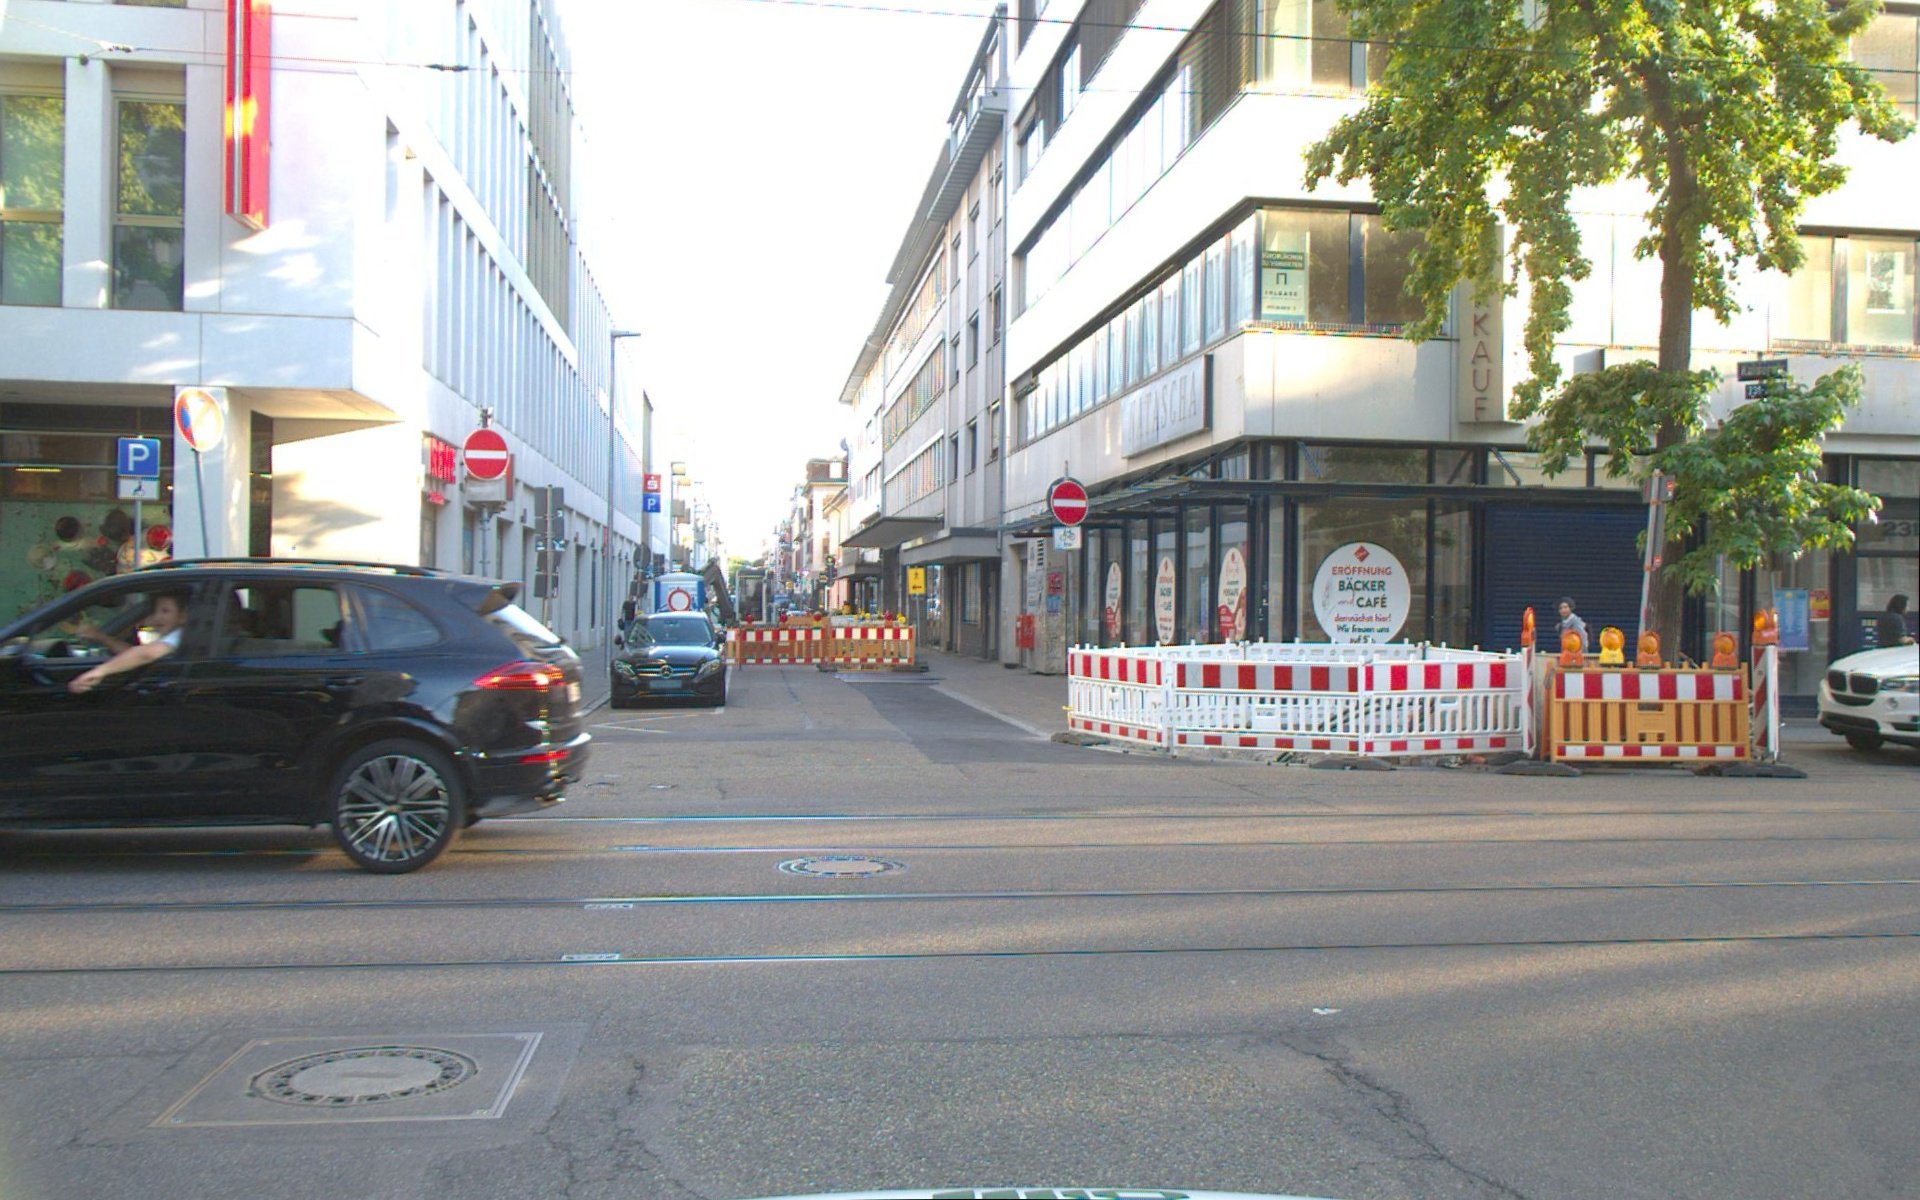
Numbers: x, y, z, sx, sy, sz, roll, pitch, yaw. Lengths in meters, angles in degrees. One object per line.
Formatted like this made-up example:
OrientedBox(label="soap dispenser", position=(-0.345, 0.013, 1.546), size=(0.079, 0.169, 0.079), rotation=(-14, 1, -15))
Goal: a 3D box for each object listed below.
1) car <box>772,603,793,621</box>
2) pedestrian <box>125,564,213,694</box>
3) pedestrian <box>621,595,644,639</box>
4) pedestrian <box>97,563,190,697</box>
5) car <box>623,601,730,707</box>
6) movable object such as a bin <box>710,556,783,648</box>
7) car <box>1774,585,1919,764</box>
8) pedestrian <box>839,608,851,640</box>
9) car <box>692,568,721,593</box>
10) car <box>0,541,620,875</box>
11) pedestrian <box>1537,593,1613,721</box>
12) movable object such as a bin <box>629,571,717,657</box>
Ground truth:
OrientedBox(label="car", position=(-17.731, 1.179, 164.875), size=(1.956, 1.808, 3.993), rotation=(0, 0, -7))
OrientedBox(label="pedestrian", position=(-10.300, 0.372, 21.555), size=(0.853, 1.656, 0.611), rotation=(-1, 0, -4))
OrientedBox(label="pedestrian", position=(-10.982, 0.563, 55.531), size=(0.702, 1.490, 0.525), rotation=(0, 0, -5))
OrientedBox(label="pedestrian", position=(-10.286, 0.372, 20.856), size=(0.853, 1.656, 0.611), rotation=(-1, 0, -4))
OrientedBox(label="car", position=(-4.580, 0.807, 26.607), size=(1.600, 1.577, 3.134), rotation=(0, 0, -11))
OrientedBox(label="movable object such as a bin", position=(-6.654, 0.062, 51.558), size=(2.116, 2.710, 4.565), rotation=(1, 0, -8))
OrientedBox(label="car", position=(12.021, 0.810, 18.590), size=(4.837, 1.806, 2.019), rotation=(1, 2, -8))
OrientedBox(label="pedestrian", position=(-5.462, 1.143, 78.675), size=(0.513, 1.490, 0.718), rotation=(1, 0, 0))
OrientedBox(label="car", position=(-18.420, -1.390, 120.182), size=(1.956, 1.808, 3.993), rotation=(0, 0, -7))
OrientedBox(label="car", position=(-4.570, 0.583, 9.770), size=(4.837, 1.756, 2.018), rotation=(1, -1, -8))
OrientedBox(label="pedestrian", position=(7.694, 0.700, 20.701), size=(0.692, 1.576, 0.577), rotation=(0, 0, -10))
OrientedBox(label="movable object such as a bin", position=(-7.187, 0.328, 41.741), size=(1.956, 2.049, 3.994), rotation=(0, 0, -7))
